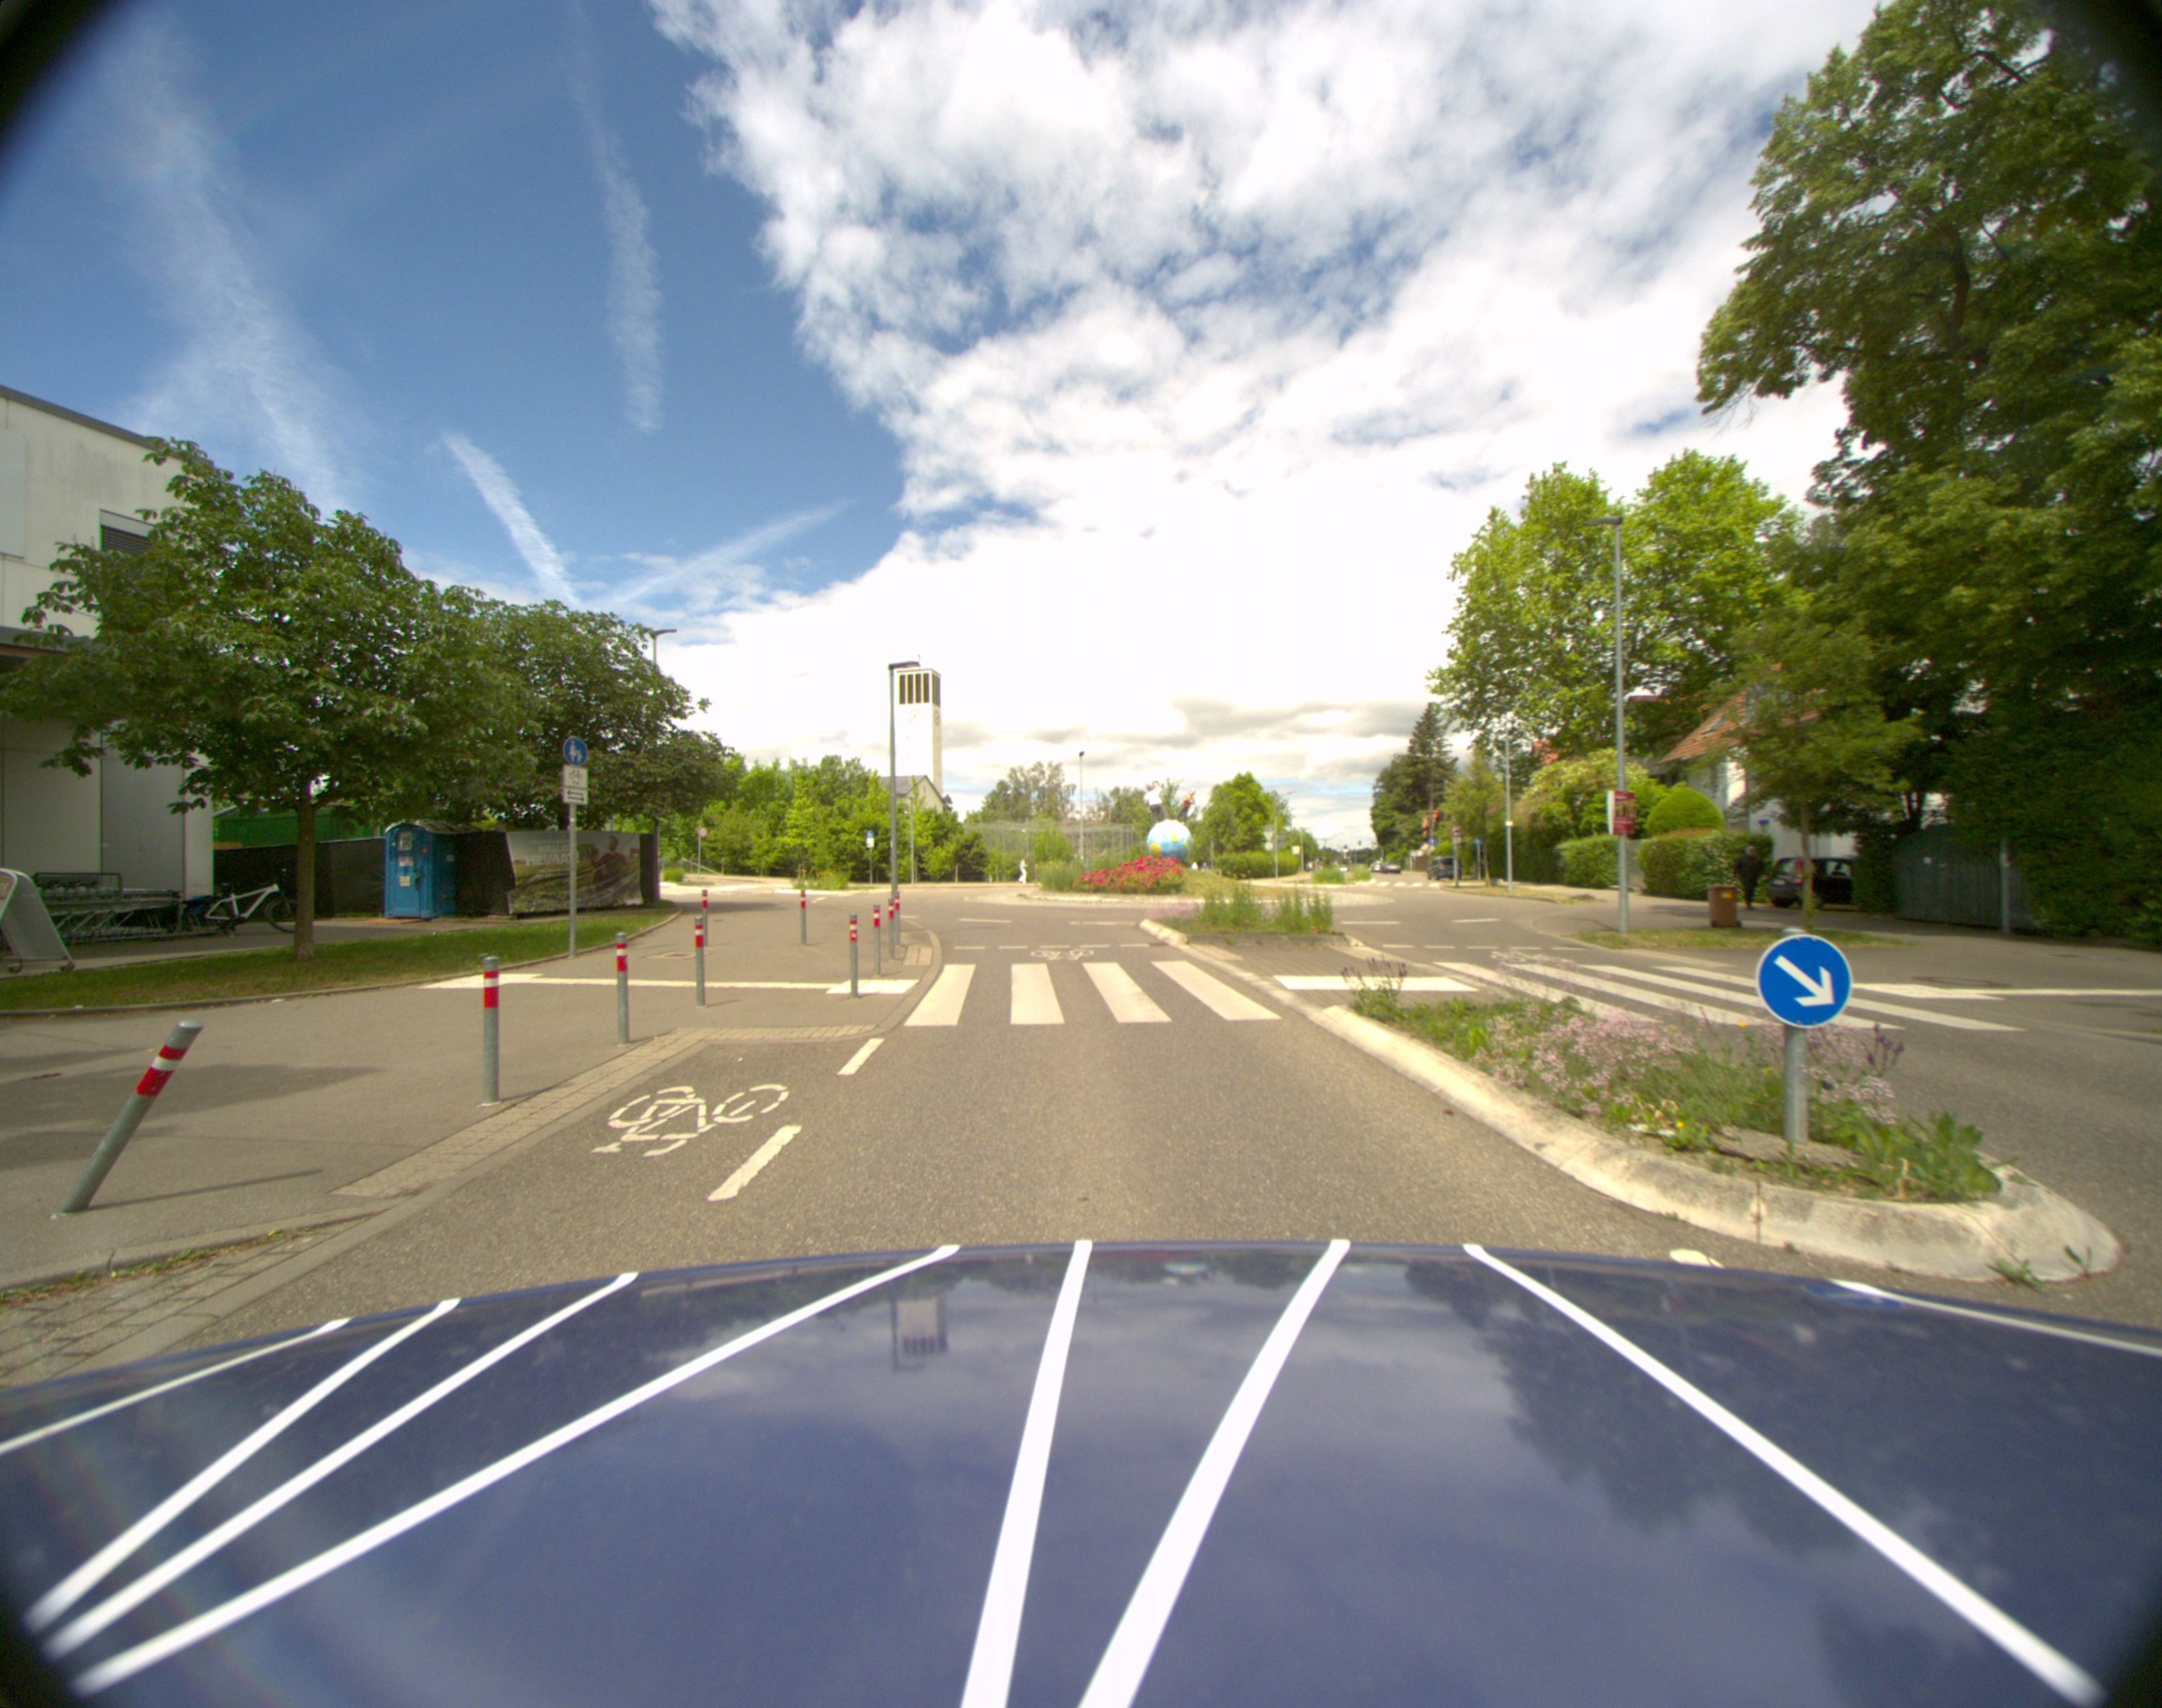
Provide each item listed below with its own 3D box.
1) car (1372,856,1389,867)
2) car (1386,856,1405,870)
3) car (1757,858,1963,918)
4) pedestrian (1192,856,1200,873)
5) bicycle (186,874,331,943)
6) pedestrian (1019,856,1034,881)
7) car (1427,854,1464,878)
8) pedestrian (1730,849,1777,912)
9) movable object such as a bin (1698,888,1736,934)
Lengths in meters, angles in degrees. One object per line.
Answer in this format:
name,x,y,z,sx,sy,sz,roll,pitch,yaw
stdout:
car,48.245,1.219,122.289,1.996,1.696,4.004,0,0,14
car,38.378,1.095,92.728,1.860,1.568,4.005,-1,0,19
car,21.460,0.894,21.104,3.570,1.389,1.667,2,1,19
pedestrian,11.275,1.022,74.622,0.608,1.687,0.567,0,0,-4
bicycle,-15.955,1.030,14.787,1.774,1.227,0.714,-2,0,-15
pedestrian,-3.327,0.864,46.372,0.457,1.524,0.965,-1,0,26
car,26.553,0.846,55.406,1.678,1.652,4.004,0,0,14
pedestrian,18.347,0.714,20.740,0.744,1.681,0.695,-1,1,20
movable object such as a bin,13.261,1.182,15.854,0.441,0.929,0.412,0,1,-10
